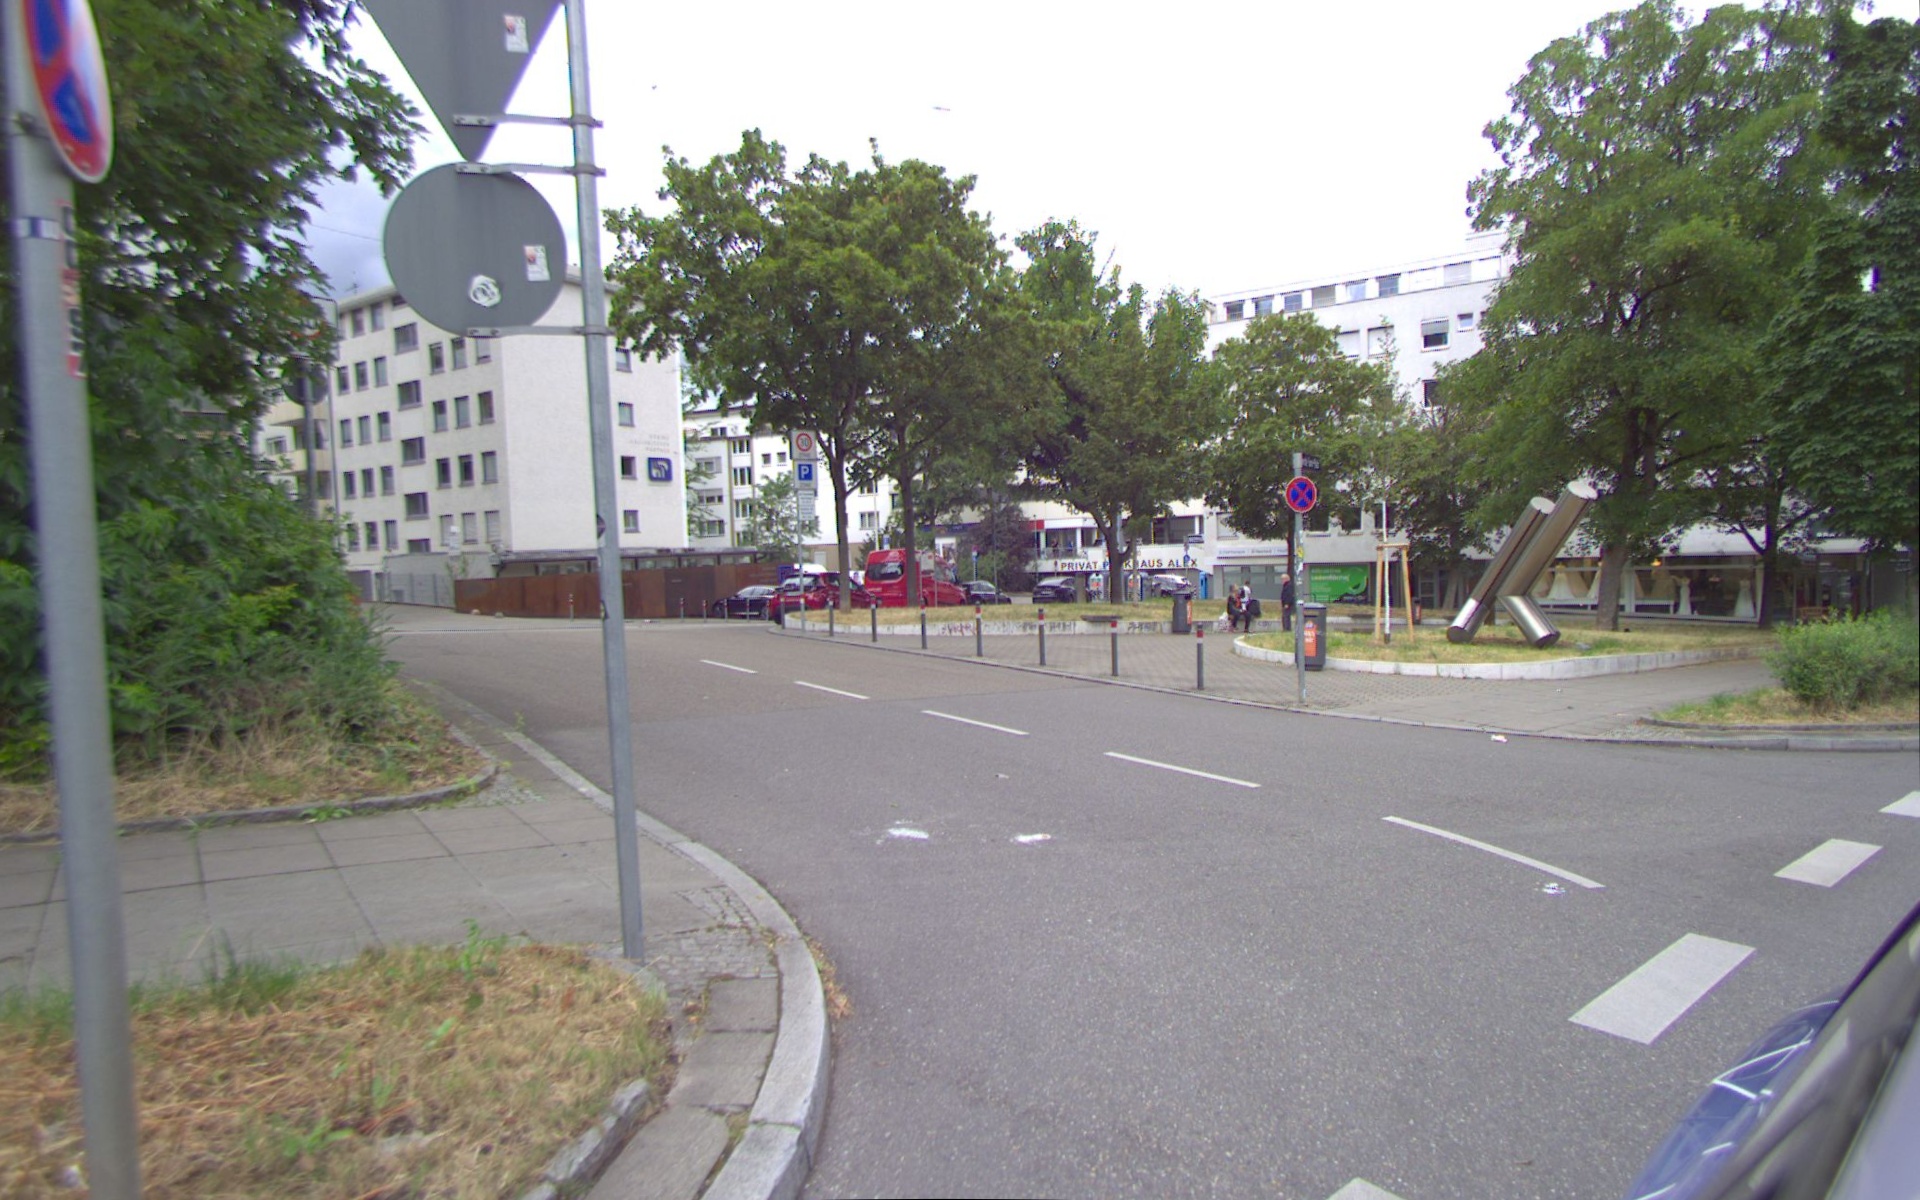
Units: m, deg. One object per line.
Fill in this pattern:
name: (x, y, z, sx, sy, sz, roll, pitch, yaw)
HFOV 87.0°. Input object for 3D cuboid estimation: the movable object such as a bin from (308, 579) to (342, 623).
movable object such as a bin: (-15.260, 0.020, 24.312, 0.542, 1.037, 0.489, 1, 1, 31)

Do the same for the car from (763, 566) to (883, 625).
car: (-3.891, -0.157, 29.294, 1.730, 1.584, 3.686, 1, 1, 24)

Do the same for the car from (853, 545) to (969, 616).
car: (-1.568, -0.673, 34.722, 2.103, 2.241, 4.856, 1, 1, 23)

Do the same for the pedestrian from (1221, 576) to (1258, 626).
pedestrian: (7.455, 0.028, 27.024, 0.671, 1.308, 0.657, 0, 1, -29)

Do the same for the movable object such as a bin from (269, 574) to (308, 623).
movable object such as a bin: (-15.287, -0.036, 23.041, 0.549, 1.083, 0.570, 1, 1, 30)

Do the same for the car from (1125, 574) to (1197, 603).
car: (12.589, -0.759, 63.542, 3.985, 1.738, 1.970, 2, 2, 42)

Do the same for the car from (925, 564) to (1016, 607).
car: (0.487, -0.560, 39.660, 1.979, 1.584, 4.378, 1, 1, 25)

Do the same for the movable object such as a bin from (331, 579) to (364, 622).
movable object such as a bin: (-14.996, 0.008, 24.771, 0.542, 1.030, 0.489, 1, 1, 31)

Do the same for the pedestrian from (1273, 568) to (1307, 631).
pedestrian: (8.713, -0.031, 26.715, 0.720, 1.622, 0.785, 1, 1, 28)

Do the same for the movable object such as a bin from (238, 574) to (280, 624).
movable object such as a bin: (-15.590, -0.036, 22.506, 0.549, 1.092, 0.604, 1, 1, 30)

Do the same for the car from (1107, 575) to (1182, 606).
car: (11.086, -0.608, 60.872, 3.985, 1.738, 1.970, 2, 2, 42)

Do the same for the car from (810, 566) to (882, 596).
car: (-7.698, -1.291, 68.005, 4.764, 1.969, 2.196, 2, 1, 41)

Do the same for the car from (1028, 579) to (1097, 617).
car: (5.167, -0.104, 50.340, 1.979, 1.762, 4.744, 1, 1, 25)

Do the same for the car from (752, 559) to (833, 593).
car: (-9.790, -1.397, 58.997, 4.586, 1.901, 2.075, 2, 1, 37)

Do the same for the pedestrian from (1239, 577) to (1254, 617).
pedestrian: (11.377, -0.134, 40.174, 0.520, 1.552, 0.672, 1, 1, 12)

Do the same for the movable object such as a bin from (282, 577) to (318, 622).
movable object such as a bin: (-15.530, -0.020, 23.828, 0.531, 1.054, 0.533, 1, 1, 30)

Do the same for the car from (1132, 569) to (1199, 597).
car: (13.324, -1.086, 65.736, 3.981, 1.708, 1.665, -2, -1, 40)
